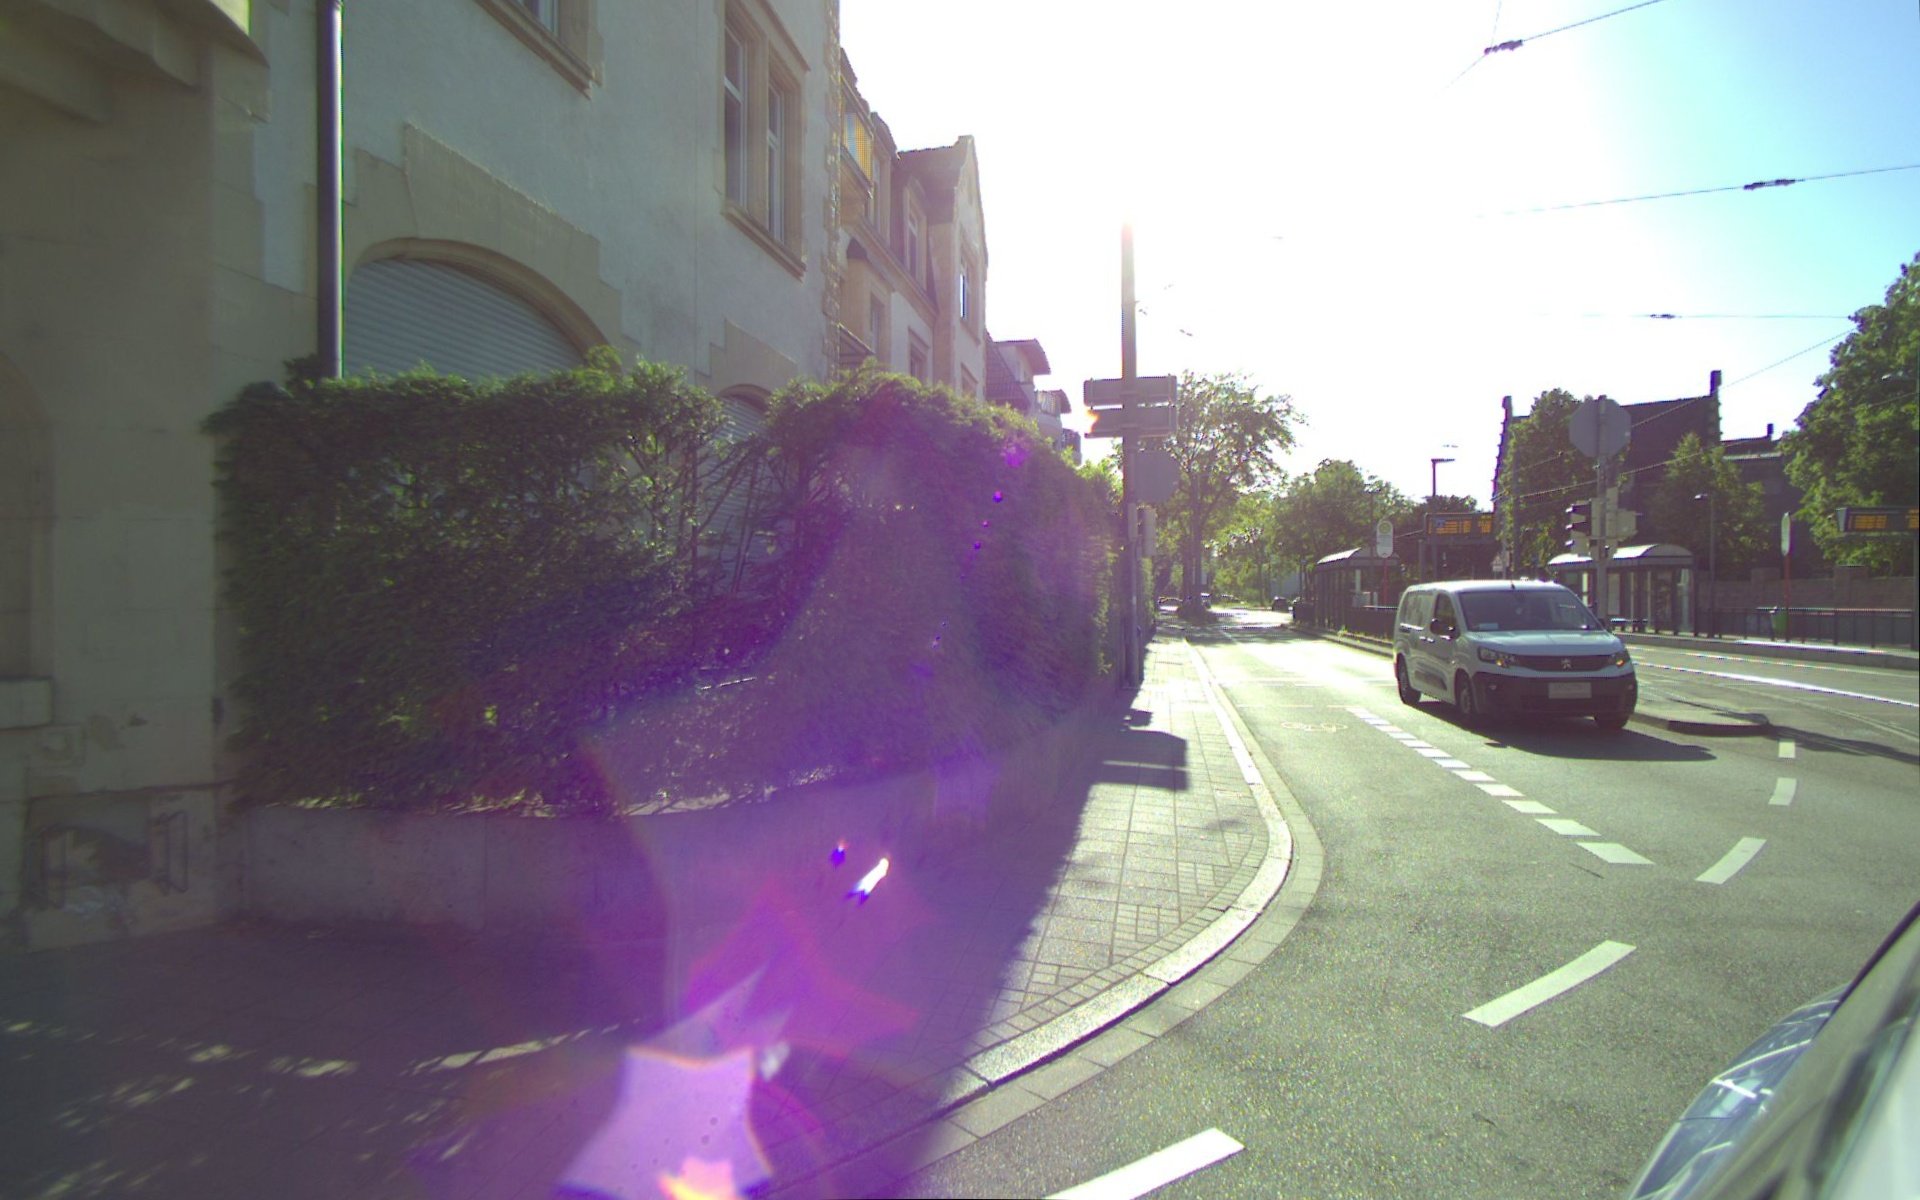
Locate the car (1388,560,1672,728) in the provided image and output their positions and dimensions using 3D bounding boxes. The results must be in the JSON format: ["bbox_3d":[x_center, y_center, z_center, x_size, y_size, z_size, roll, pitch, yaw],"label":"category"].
[{"bbox_3d":[7.273,0.466,13.535,1.829,1.821,4.683,-2,0,11],"label":"car"}]

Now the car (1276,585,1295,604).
[{"bbox_3d":[36.730,-0.640,114.082,1.974,2.039,3.976,0,0,19],"label":"car"}]
